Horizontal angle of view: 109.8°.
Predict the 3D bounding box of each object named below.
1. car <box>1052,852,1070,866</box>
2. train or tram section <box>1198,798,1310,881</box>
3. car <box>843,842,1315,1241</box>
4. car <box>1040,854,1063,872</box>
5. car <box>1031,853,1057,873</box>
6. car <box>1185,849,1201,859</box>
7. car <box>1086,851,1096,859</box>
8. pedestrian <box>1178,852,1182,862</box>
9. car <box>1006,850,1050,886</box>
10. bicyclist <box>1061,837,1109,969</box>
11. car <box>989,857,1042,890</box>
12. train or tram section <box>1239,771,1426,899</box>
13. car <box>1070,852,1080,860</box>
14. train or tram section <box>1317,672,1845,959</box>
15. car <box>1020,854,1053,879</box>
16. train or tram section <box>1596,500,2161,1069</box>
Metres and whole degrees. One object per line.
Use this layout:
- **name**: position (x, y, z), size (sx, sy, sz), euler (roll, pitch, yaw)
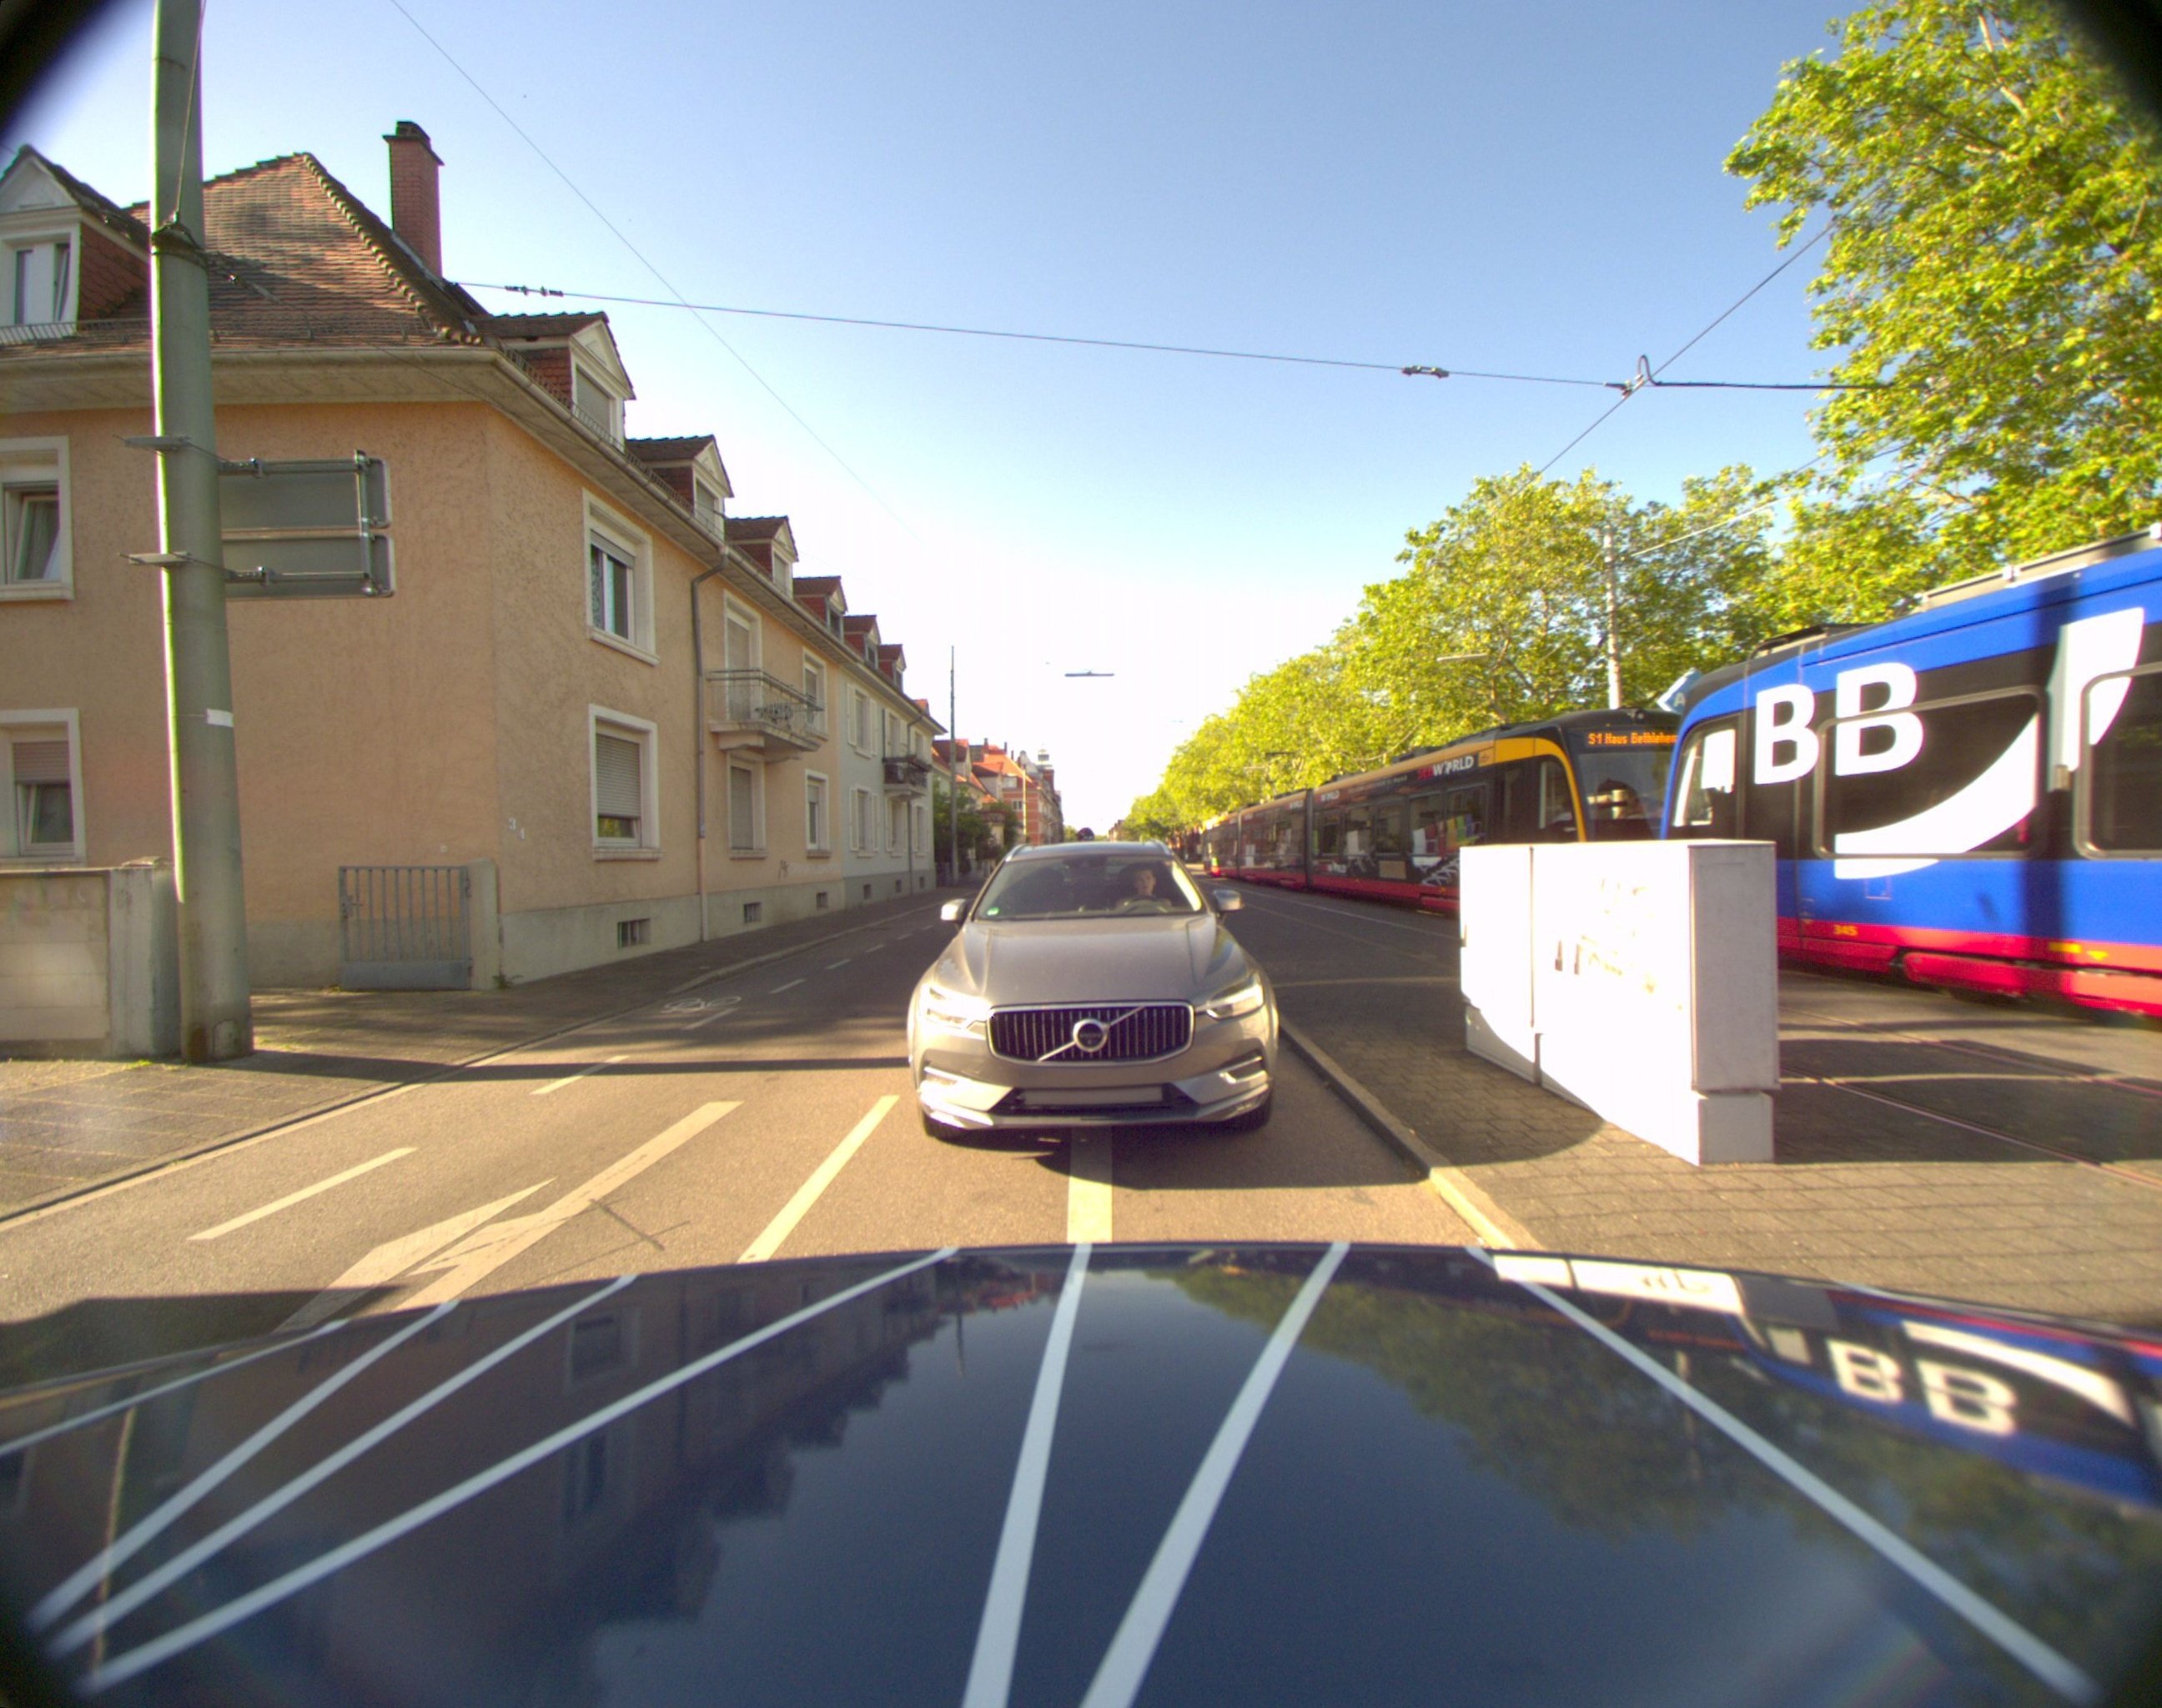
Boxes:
- **car**: position (-2.248, 0.545, 85.646), size (1.882, 1.477, 3.999), euler (-1, 0, -1)
- **train or tram section**: position (8.664, -0.670, 40.156), size (3.063, 3.592, 12.888), euler (-1, 0, 1)
- **car**: position (0.023, 0.769, 5.386), size (1.917, 1.621, 4.502), euler (-1, 0, 1)
- **car**: position (-2.597, 0.771, 66.866), size (1.882, 1.477, 3.999), euler (-1, 0, -1)
- **car**: position (-2.931, 0.691, 61.219), size (1.882, 1.477, 3.999), euler (-1, 0, -1)
- **car**: position (18.536, -0.037, 125.692), size (1.882, 1.542, 3.999), euler (-1, 0, -2)
- **car**: position (1.935, 0.125, 147.416), size (1.882, 1.477, 3.999), euler (-1, 0, -1)
- **pedestrian**: position (15.811, 0.431, 121.016), size (0.578, 1.632, 0.677), euler (-1, 1, 3)
- **car**: position (-2.899, 0.728, 42.866), size (1.932, 1.834, 5.313), euler (-1, 0, 2)
- **bicyclist**: position (0.057, 0.640, 10.231), size (0.600, 1.709, 0.662), euler (-1, 1, 1)
- **car**: position (-3.133, 0.921, 37.181), size (1.881, 1.477, 4.001), euler (-1, 0, 5)
- **train or tram section**: position (8.459, -0.575, 27.747), size (3.062, 3.592, 11.950), euler (-1, 0, 1)
- **car**: position (-1.096, 0.306, 148.331), size (1.882, 1.477, 3.999), euler (-1, 0, -1)
- **train or tram section**: position (8.250, -0.513, 15.726), size (3.063, 3.592, 12.114), euler (-1, 0, 1)
- **car**: position (-2.827, 0.784, 48.503), size (1.882, 1.477, 3.999), euler (-1, 0, -1)
- **train or tram section**: position (8.429, -0.455, 3.673), size (3.064, 3.592, 12.110), euler (-1, 0, -3)
